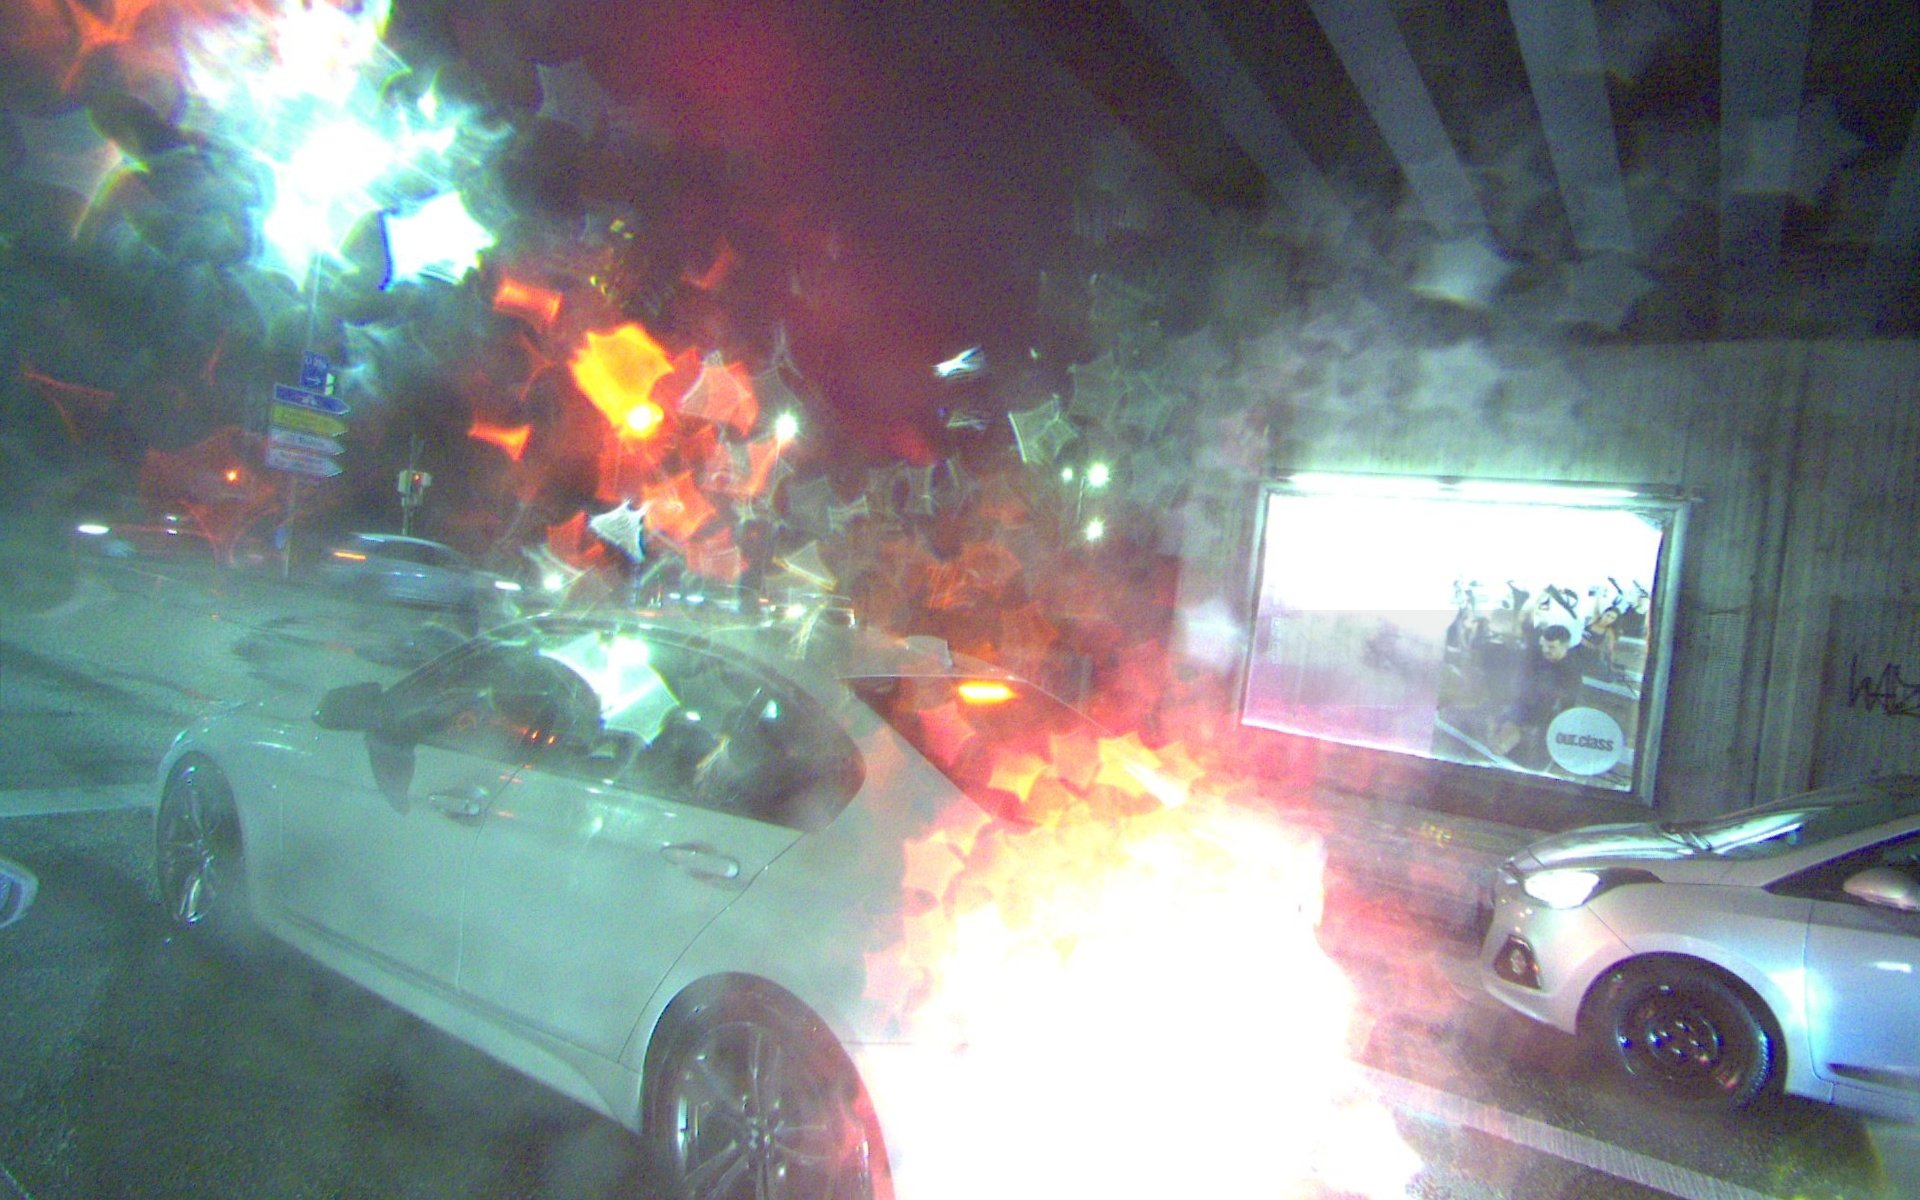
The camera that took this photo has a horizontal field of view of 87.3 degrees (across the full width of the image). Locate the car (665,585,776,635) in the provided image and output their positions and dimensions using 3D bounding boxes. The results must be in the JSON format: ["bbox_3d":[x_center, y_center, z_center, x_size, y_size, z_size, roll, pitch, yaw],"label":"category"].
[{"bbox_3d":[-10.298,0.469,43.505,1.827,1.609,4.335,6,-2,40],"label":"car"}]

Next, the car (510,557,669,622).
[{"bbox_3d":[-12.740,-0.319,34.870,1.826,1.609,4.850,6,-2,38],"label":"car"}]

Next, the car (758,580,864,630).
[{"bbox_3d":[-6.428,0.257,43.823,1.827,1.609,4.335,6,-2,40],"label":"car"}]

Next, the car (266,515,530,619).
[{"bbox_3d":[-12.719,-0.705,22.942,4.931,1.628,1.980,8,-2,-38],"label":"car"}]

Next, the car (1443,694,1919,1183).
[{"bbox_3d":[4.309,1.408,3.977,4.092,1.465,1.722,6,0,31],"label":"car"}]

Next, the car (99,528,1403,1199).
[{"bbox_3d":[-0.965,0.705,3.499,4.309,1.465,1.722,6,0,31],"label":"car"}]

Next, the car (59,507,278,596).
[{"bbox_3d":[-21.580,-1.294,27.573,1.957,1.775,4.334,6,-2,41],"label":"car"}]
